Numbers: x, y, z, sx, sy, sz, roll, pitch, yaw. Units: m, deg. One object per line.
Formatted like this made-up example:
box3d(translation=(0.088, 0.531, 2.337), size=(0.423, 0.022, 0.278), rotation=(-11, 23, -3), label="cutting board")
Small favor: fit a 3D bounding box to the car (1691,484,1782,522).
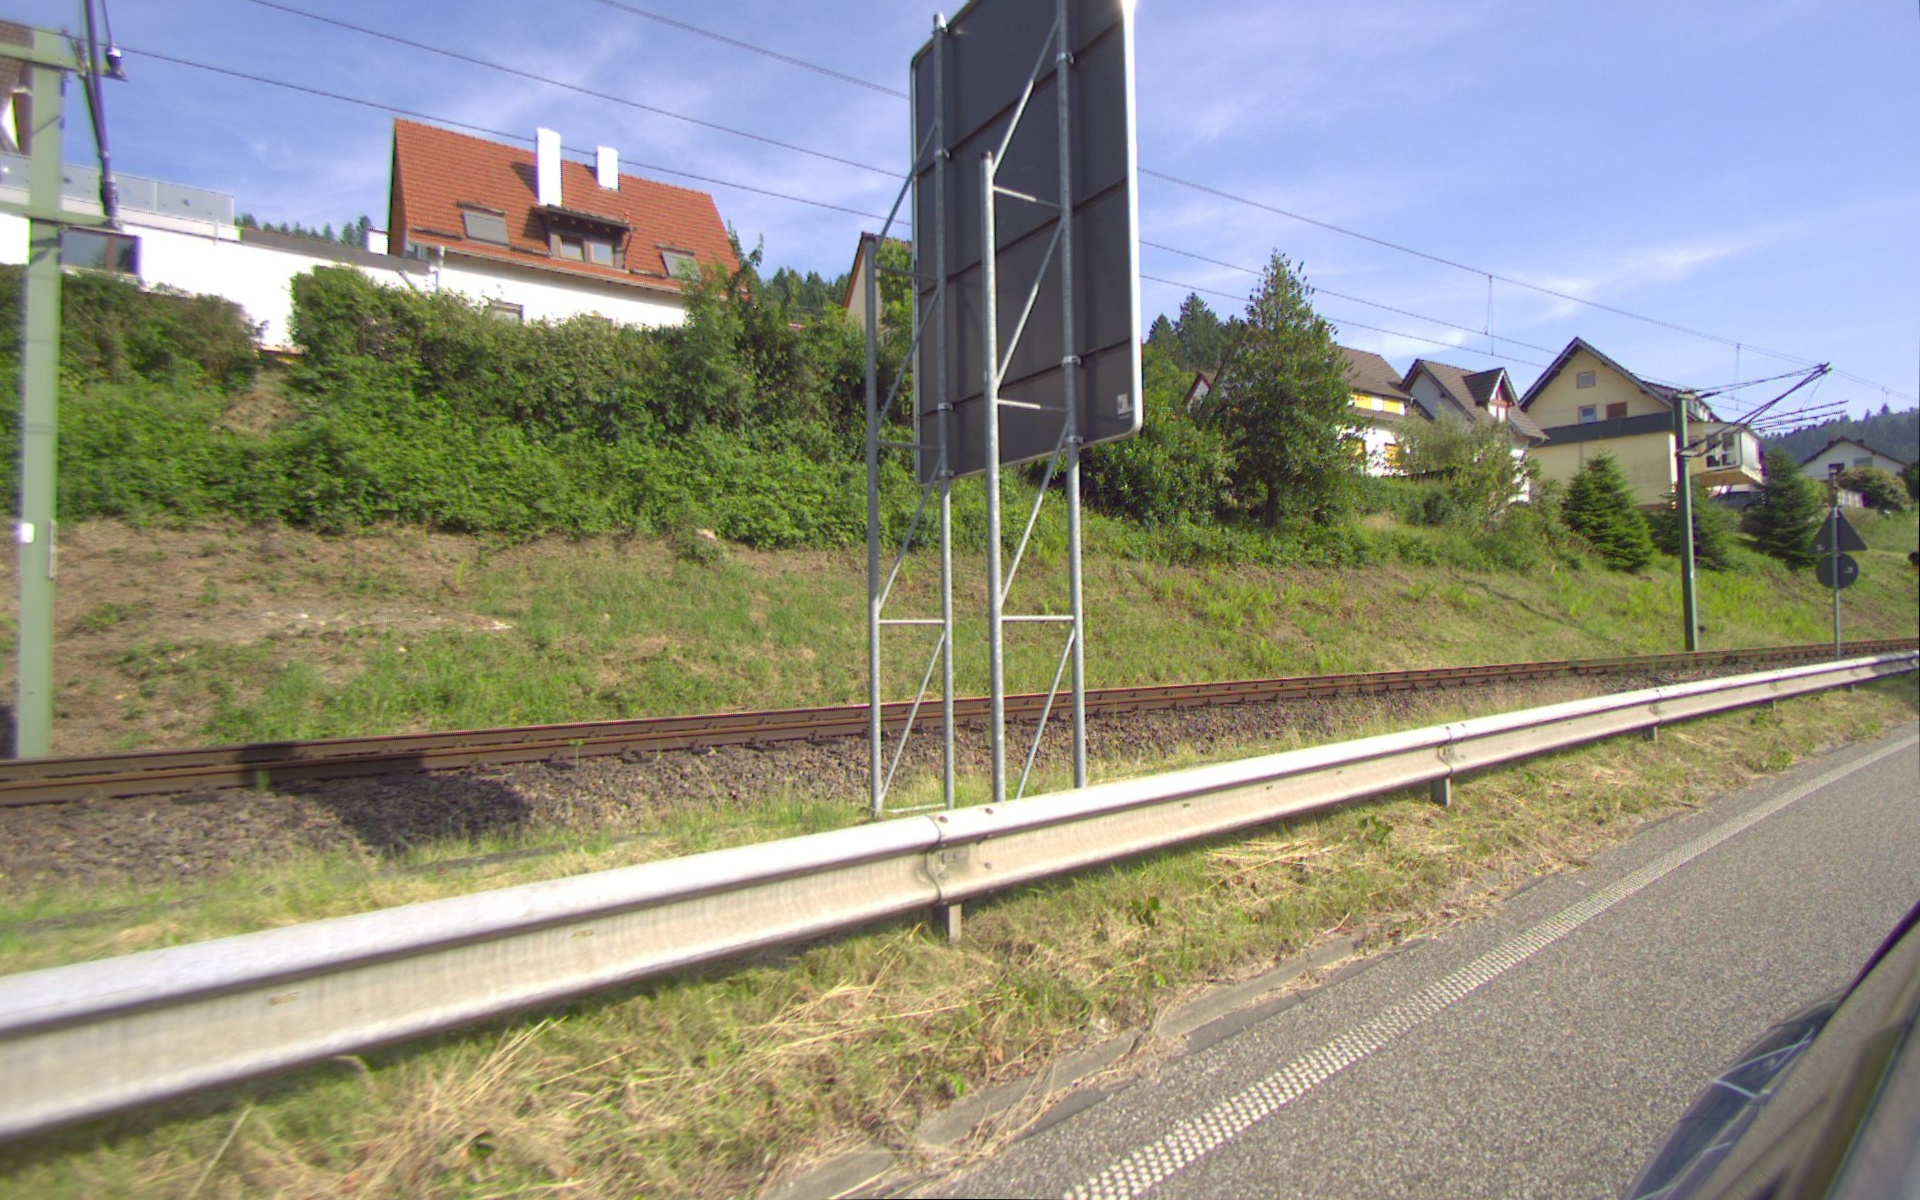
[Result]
box3d(translation=(44.378, -5.527, 57.895), size=(1.721, 1.560, 3.747), rotation=(-1, -3, -38), label="car")
